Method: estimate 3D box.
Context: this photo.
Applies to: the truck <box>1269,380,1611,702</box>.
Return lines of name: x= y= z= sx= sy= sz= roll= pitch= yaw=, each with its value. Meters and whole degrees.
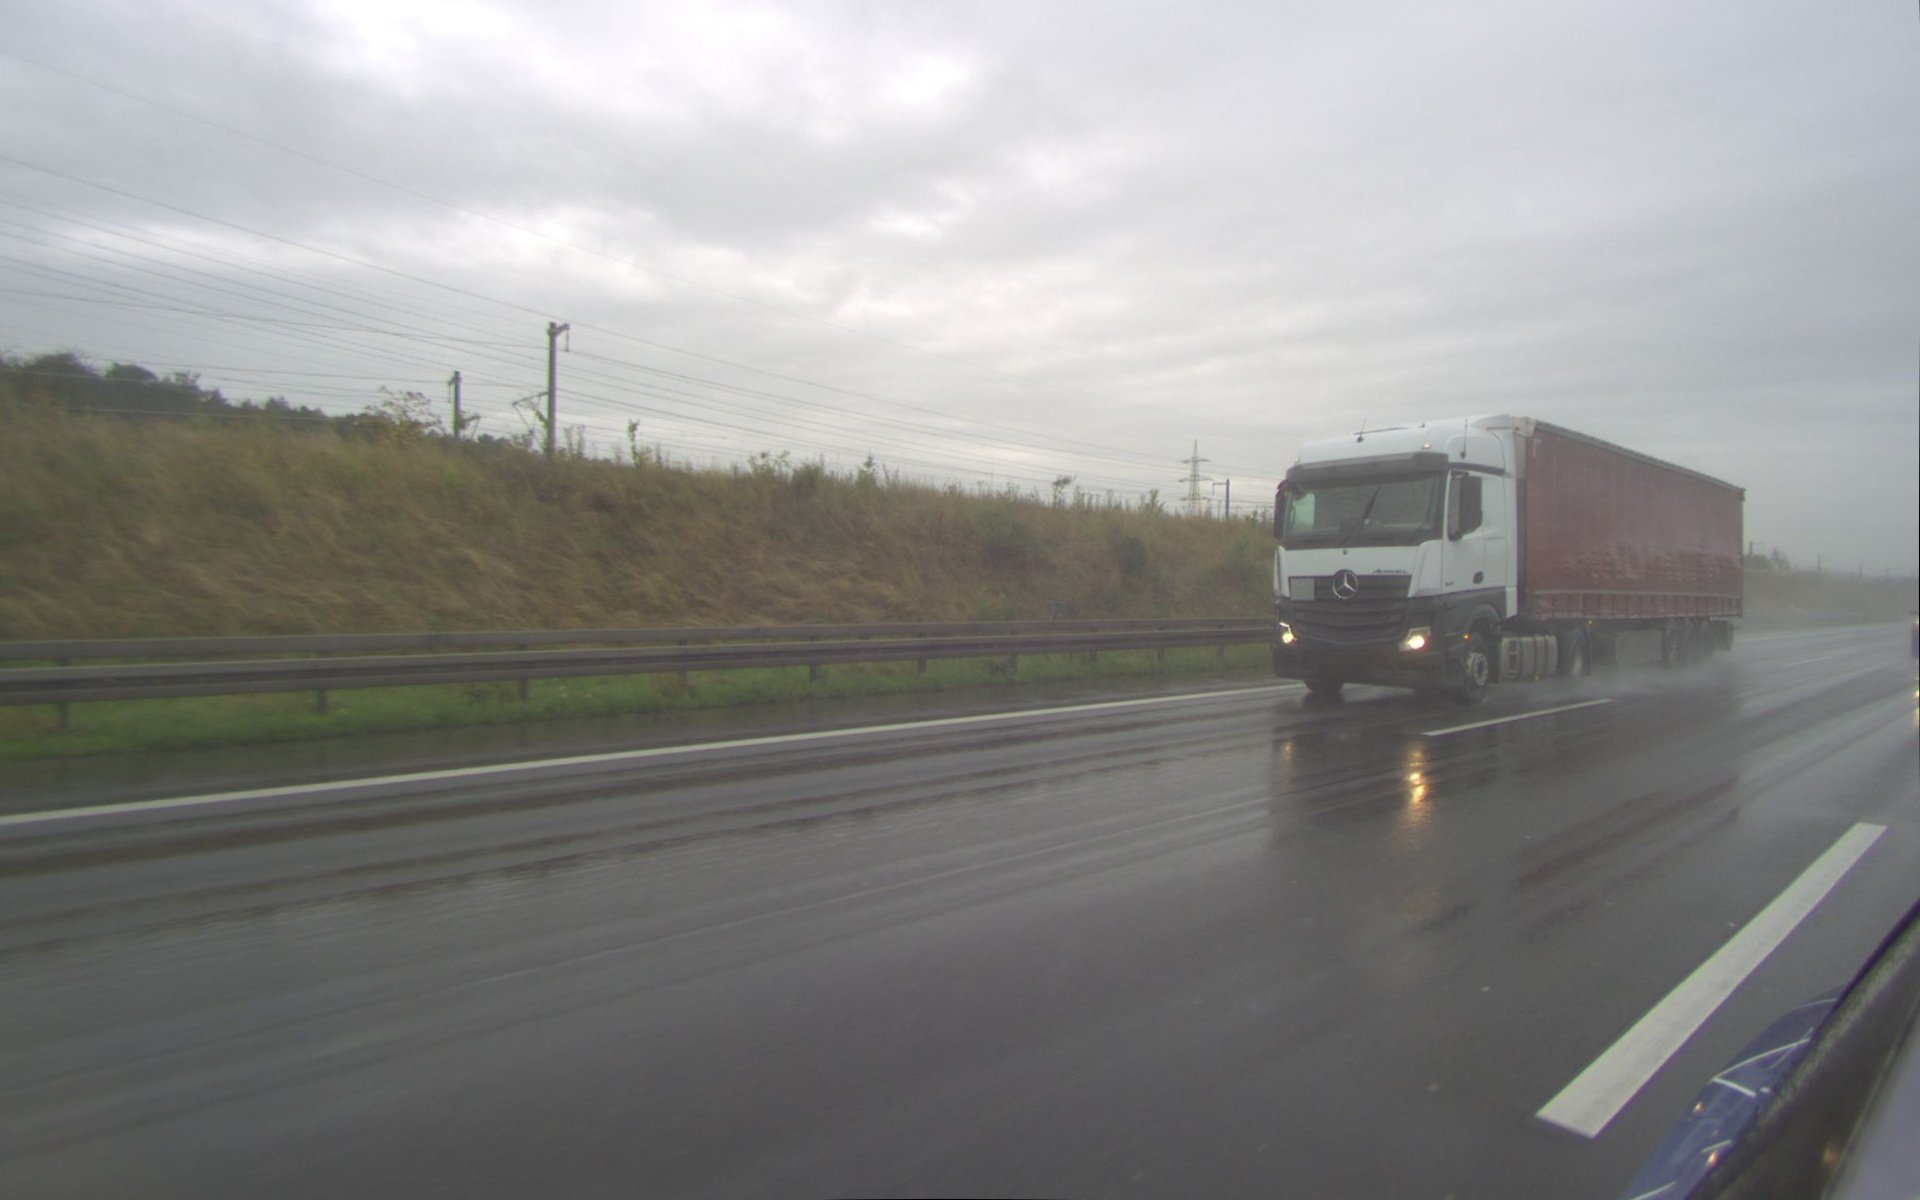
truck: x=7.439 y=-0.740 z=15.307 sx=6.090 sy=3.938 sz=2.456 roll=0 pitch=0 yaw=-41

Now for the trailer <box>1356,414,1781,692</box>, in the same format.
trailer: x=13.069 y=-0.683 z=20.187 sx=16.257 sy=3.813 sz=2.484 roll=0 pitch=0 yaw=-41
